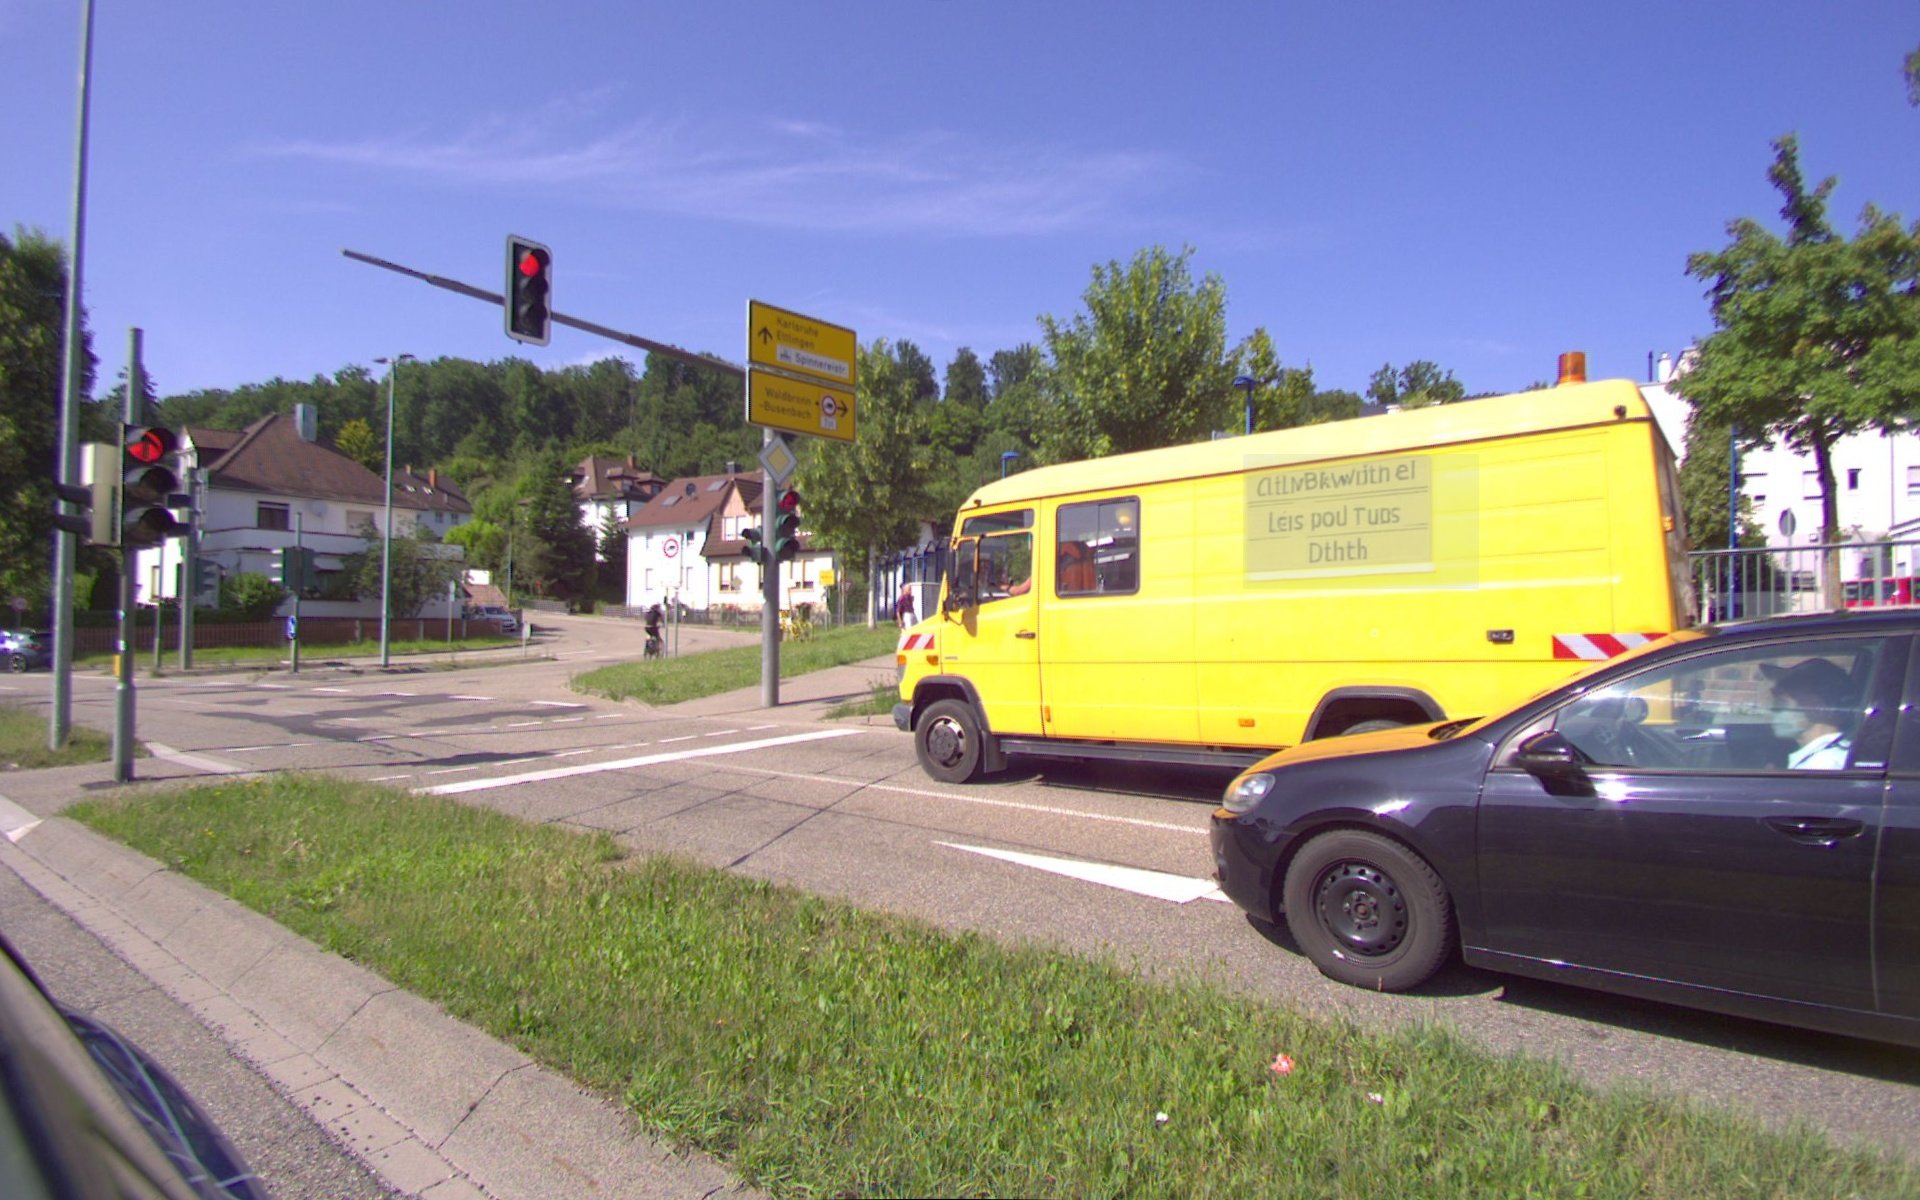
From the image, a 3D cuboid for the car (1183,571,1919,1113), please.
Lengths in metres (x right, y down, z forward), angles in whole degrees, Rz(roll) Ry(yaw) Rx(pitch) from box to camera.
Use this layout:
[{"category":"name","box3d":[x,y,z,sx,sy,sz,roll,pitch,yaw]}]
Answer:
[{"category":"car","box3d":[3.020,0.670,3.548,4.040,1.473,1.728,-2,-2,40]}]

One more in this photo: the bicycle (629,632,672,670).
[{"category":"bicycle","box3d":[-10.469,1.699,34.311,0.725,1.171,1.998,-3,0,3]}]

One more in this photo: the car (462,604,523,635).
[{"category":"car","box3d":[-27.328,1.137,59.139,4.001,1.649,1.913,-3,-1,44]}]

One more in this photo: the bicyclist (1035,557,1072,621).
[{"category":"bicyclist","box3d":[2.420,-0.281,26.026,0.798,1.576,0.953,-2,0,12]}]

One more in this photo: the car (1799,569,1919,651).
[{"category":"car","box3d":[20.215,0.160,21.453,3.931,1.571,1.920,-3,0,-19]}]

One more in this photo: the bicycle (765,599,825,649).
[{"category":"bicycle","box3d":[-4.597,0.676,28.079,1.757,1.264,0.612,-5,1,44]}]

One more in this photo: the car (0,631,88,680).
[{"category":"car","box3d":[-32.915,1.951,34.780,3.934,1.519,2.005,-3,0,-12]}]

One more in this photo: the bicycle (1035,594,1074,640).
[{"category":"bicycle","box3d":[2.437,0.417,25.927,0.727,1.072,1.965,-2,1,12]}]

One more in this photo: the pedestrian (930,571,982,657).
[{"category":"pedestrian","box3d":[-0.093,0.311,23.274,0.856,1.922,0.732,-2,2,37]}]

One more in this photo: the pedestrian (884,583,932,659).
[{"category":"pedestrian","box3d":[-1.191,0.482,23.189,0.740,1.690,0.704,-3,-1,38]}]

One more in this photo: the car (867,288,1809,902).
[{"category":"car","box3d":[2.440,0.011,8.015,6.460,3.033,2.443,-1,0,40]}]

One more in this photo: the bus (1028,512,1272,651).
[{"category":"bus","box3d":[5.720,-0.431,34.002,2.821,3.742,12.253,-3,0,-15]}]

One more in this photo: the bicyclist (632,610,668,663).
[{"category":"bicyclist","box3d":[-10.475,1.229,34.214,0.796,1.704,0.992,-3,0,3]}]
